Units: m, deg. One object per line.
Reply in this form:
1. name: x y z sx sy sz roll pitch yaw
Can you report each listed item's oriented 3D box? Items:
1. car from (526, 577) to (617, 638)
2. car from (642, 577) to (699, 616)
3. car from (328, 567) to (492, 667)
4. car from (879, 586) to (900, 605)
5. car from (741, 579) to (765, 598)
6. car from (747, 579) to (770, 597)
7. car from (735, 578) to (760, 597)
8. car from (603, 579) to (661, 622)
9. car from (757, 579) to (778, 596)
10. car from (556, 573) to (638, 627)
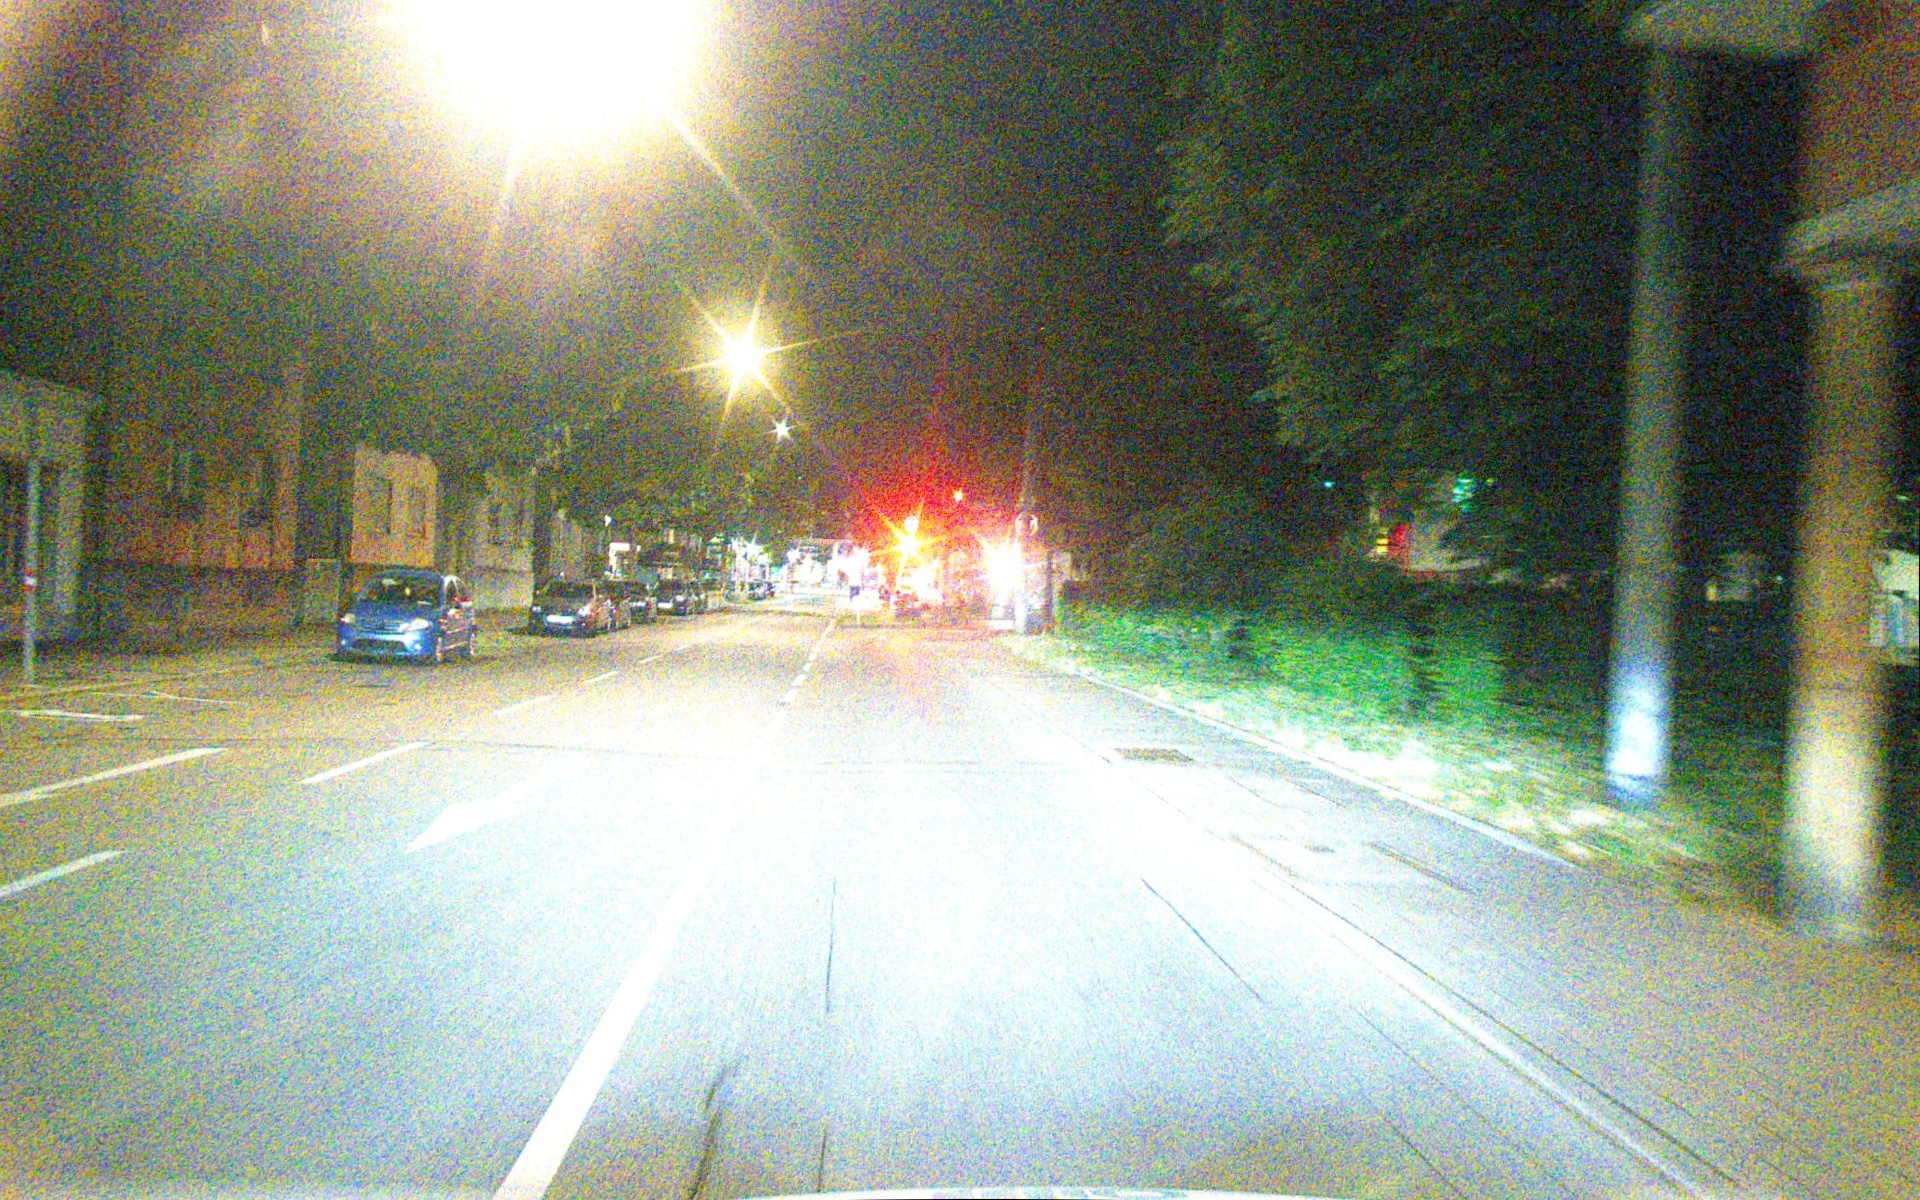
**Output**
1. car: -10.438 0.175 44.710 1.734 1.511 4.762 1 0 -6
2. car: -12.411 -0.164 71.100 1.862 1.497 4.449 4 1 -4
3. car: -9.366 0.258 28.465 1.680 1.520 3.986 3 0 -4
4. car: -5.532 -0.360 130.150 1.618 1.456 3.998 1 0 -3
5. car: -16.613 -0.898 132.658 1.619 1.456 3.997 1 0 -4
6. car: -16.995 -0.980 139.529 1.619 1.456 3.997 1 0 -4
7. car: -16.287 -0.962 126.659 1.619 1.456 3.997 1 0 -4
8. car: -11.460 -0.001 58.036 1.591 1.407 4.445 1 0 -7
9. car: -17.824 -1.147 153.231 1.619 1.456 3.997 1 0 -4
10. car: -10.856 -0.006 49.723 1.733 1.511 4.859 1 0 -5
